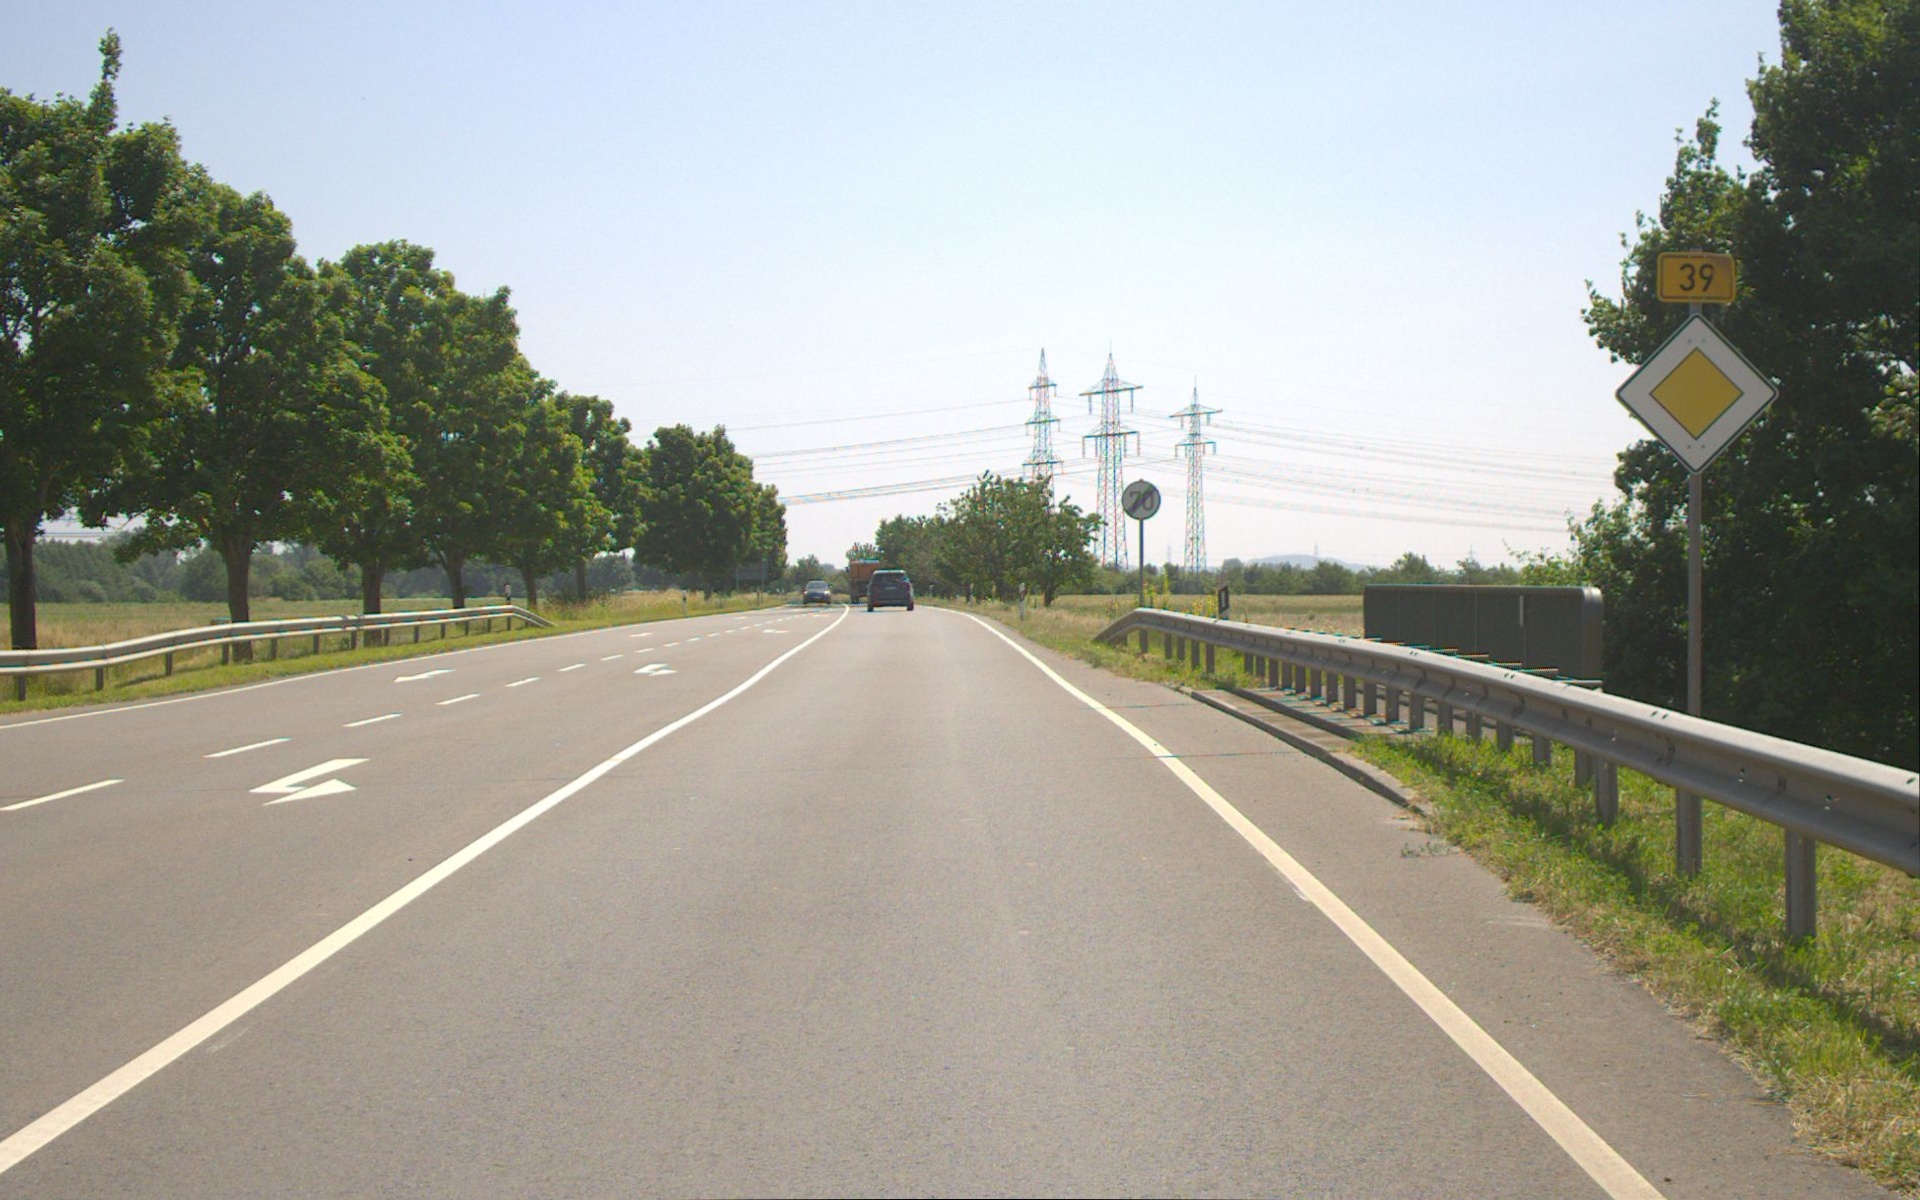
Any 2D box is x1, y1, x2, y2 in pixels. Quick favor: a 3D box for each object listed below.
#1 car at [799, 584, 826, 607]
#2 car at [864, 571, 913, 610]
[{"bbox_3d":[-9.600,-0.311,223.717,1.739,1.468,4.618,-1,0,-2],"label":"car"},{"bbox_3d":[-2.941,-0.403,140.883,1.884,1.513,4.040,2,0,-3],"label":"car"}]
